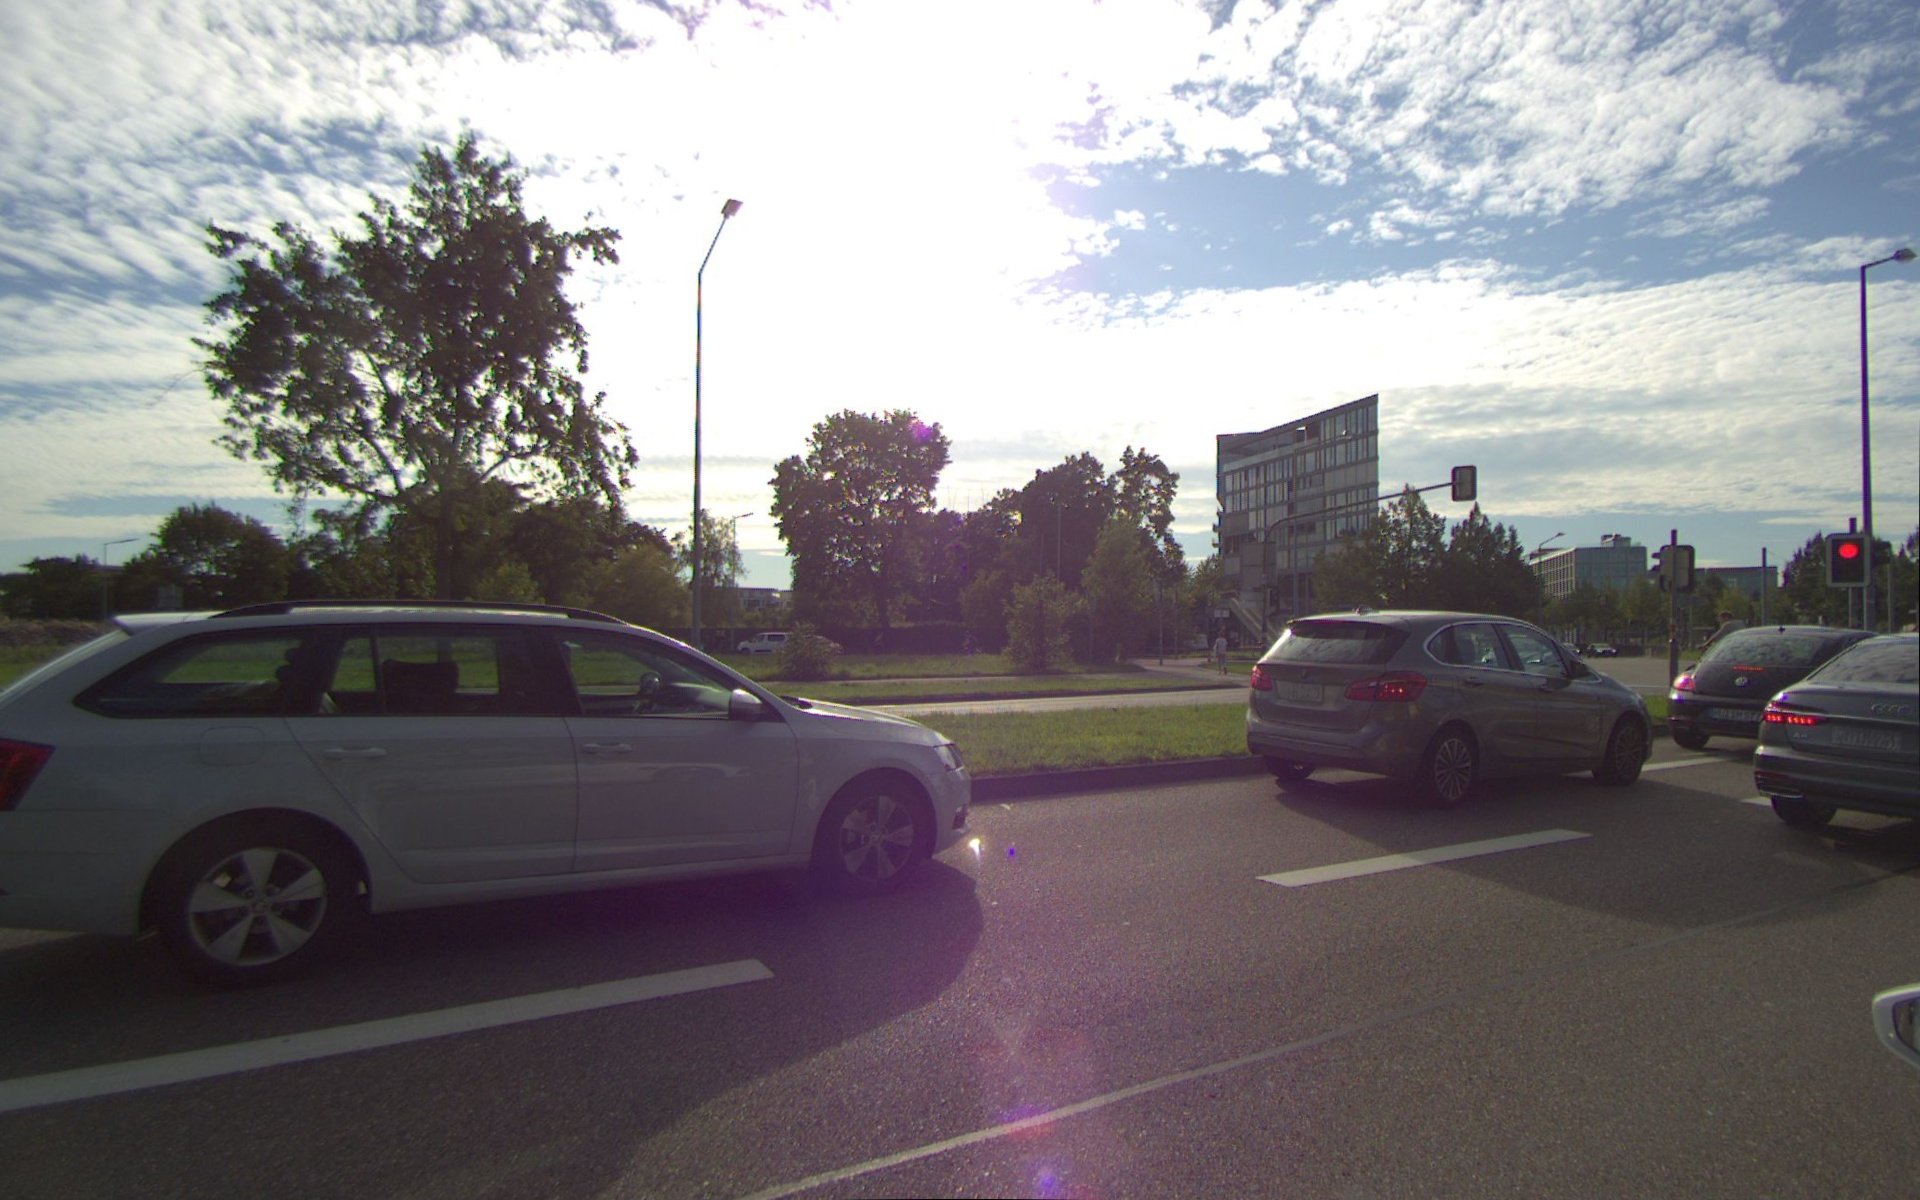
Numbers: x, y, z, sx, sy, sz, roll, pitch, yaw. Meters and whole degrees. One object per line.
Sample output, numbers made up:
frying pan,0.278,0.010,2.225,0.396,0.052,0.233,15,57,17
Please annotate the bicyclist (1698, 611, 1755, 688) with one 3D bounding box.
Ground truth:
bicyclist,15.775,1.011,20.671,0.840,1.546,0.736,-2,-3,44

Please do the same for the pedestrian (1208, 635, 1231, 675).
pedestrian,10.372,2.186,40.095,0.610,1.589,0.649,2,-2,-39

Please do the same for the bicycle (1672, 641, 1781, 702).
bicycle,15.759,1.440,20.673,1.707,1.179,0.652,-1,-2,45

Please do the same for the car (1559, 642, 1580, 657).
car,59.022,4.814,97.219,1.570,1.433,3.661,-3,-5,33

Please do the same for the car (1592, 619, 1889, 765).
car,9.752,1.046,12.500,3.766,1.543,1.672,1,-1,-31

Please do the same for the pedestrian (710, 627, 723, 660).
pedestrian,-14.757,2.636,60.850,0.675,2.040,0.641,0,-2,-5

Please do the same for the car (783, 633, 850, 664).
car,-9.446,3.159,66.200,3.919,1.793,1.712,2,-1,13

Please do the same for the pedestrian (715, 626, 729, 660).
pedestrian,-14.612,2.646,61.741,0.723,2.040,0.739,0,-2,-6

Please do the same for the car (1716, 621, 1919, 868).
car,7.798,0.959,7.478,4.559,1.502,1.881,2,-1,-31

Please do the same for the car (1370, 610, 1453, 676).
car,17.121,1.663,37.908,1.966,2.264,5.910,-3,-4,33

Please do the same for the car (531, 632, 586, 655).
car,-28.914,3.118,72.399,3.431,1.613,1.594,-1,-2,17

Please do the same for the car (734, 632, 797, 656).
car,-14.186,3.200,73.409,4.045,1.770,2.002,0,-2,10

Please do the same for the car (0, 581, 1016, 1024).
car,-2.024,0.757,5.184,4.429,1.518,1.690,2,-1,-31

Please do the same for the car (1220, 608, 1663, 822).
car,4.453,0.899,9.171,3.971,1.579,1.721,2,-1,-30

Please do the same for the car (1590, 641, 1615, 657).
car,62.513,4.748,97.750,1.590,1.484,3.727,-1,-2,26

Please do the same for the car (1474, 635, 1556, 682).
car,18.144,1.933,32.747,1.876,1.428,4.194,-3,-5,35
